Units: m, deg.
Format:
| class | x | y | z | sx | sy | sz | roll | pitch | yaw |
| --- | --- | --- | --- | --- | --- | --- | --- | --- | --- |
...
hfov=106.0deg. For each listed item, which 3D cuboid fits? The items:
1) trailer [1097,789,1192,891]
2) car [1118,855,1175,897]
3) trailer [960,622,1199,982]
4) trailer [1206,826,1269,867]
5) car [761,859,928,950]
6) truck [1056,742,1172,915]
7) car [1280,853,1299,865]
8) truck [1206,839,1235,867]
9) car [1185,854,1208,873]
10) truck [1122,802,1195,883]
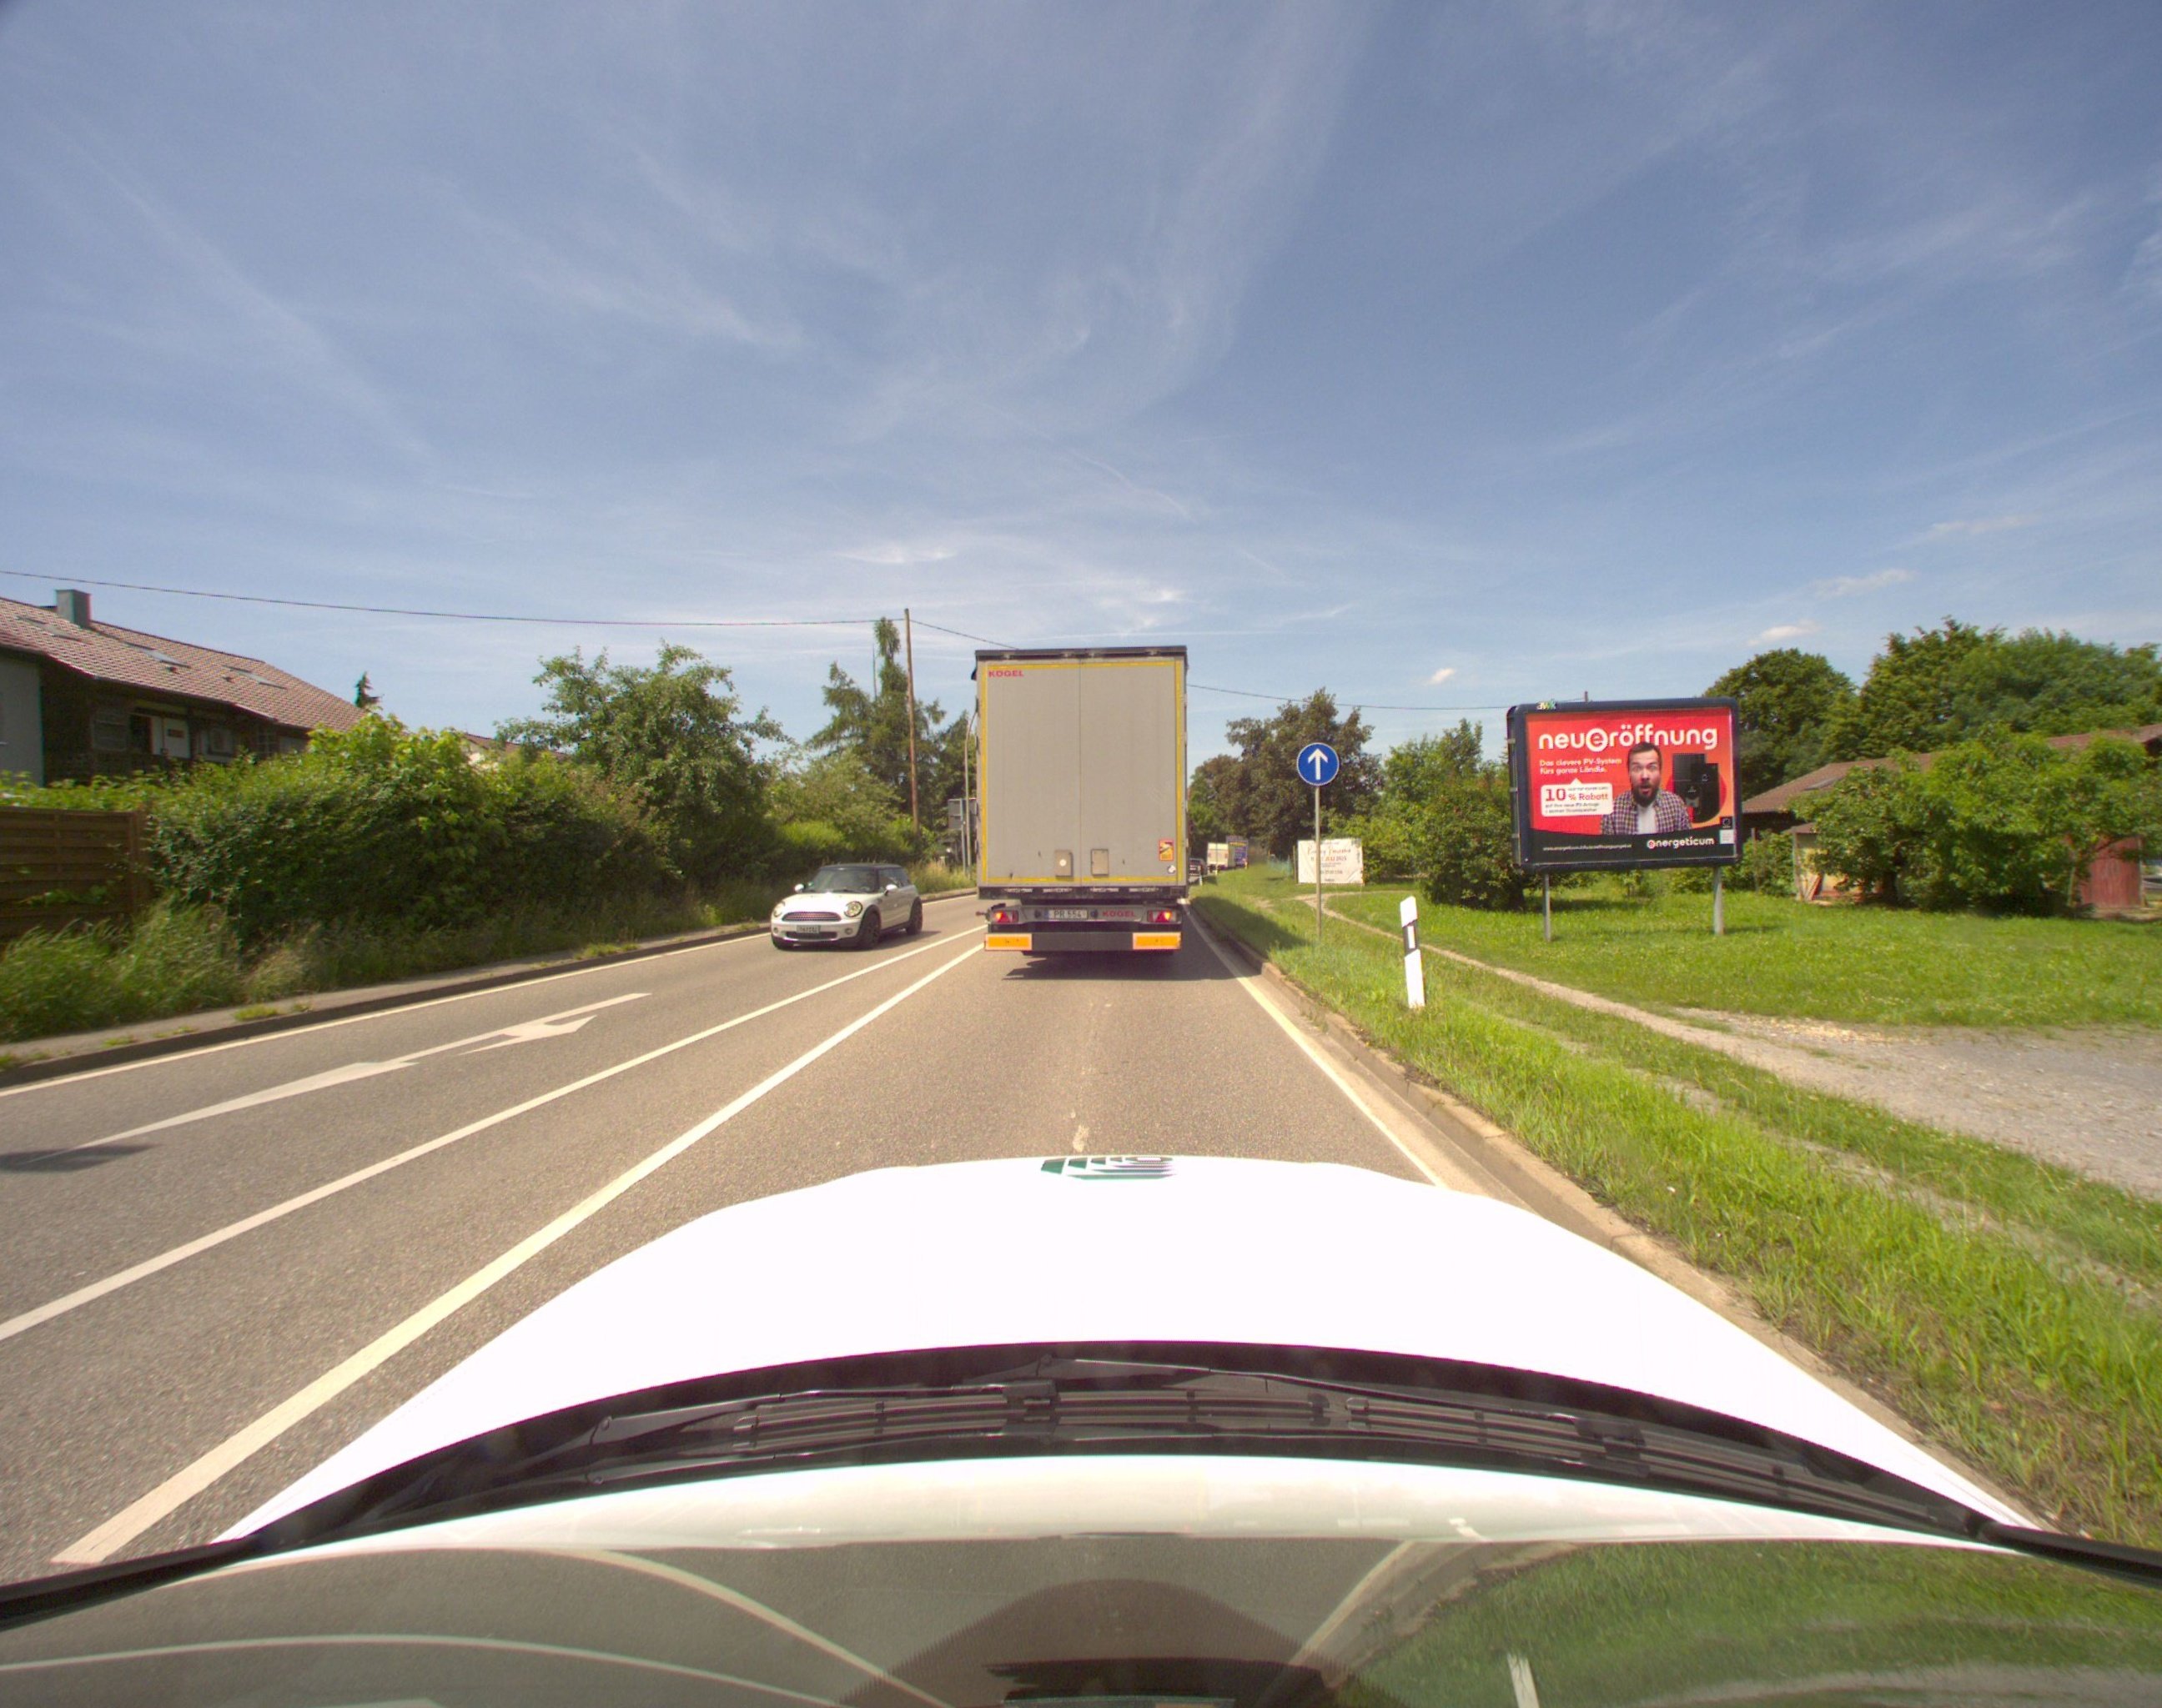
| class | x | y | z | sx | sy | sz | roll | pitch | yaw |
| --- | --- | --- | --- | --- | --- | --- | --- | --- | --- |
| trailer | 3.707 | -0.630 | 43.135 | 3.868 | 4.521 | 12.745 | -1 | 0 | 9 |
| car | 2.749 | 0.854 | 33.396 | 1.982 | 1.530 | 4.010 | -1 | 0 | 9 |
| trailer | 0.465 | -0.648 | 15.685 | 2.774 | 4.205 | 12.127 | -1 | 0 | 5 |
| trailer | 19.652 | -0.886 | 100.801 | 5.136 | 4.628 | 15.976 | -1 | 0 | 20 |
| car | -4.101 | 0.823 | 14.694 | 1.613 | 1.381 | 3.567 | -1 | 0 | 6 |
| truck | 1.134 | -0.631 | 22.859 | 2.731 | 4.165 | 6.154 | -1 | 0 | 6 |
| car | 31.456 | 0.741 | 122.947 | 1.975 | 1.684 | 4.023 | -1 | 0 | 25 |
| truck | 14.455 | -0.137 | 84.279 | 2.402 | 2.838 | 5.434 | -1 | 0 | 15 |
| car | 9.968 | 0.798 | 70.240 | 1.831 | 1.486 | 4.010 | -1 | 0 | 8 |
| truck | 4.889 | -0.649 | 50.058 | 3.914 | 4.574 | 7.170 | -1 | 0 | 9 |
